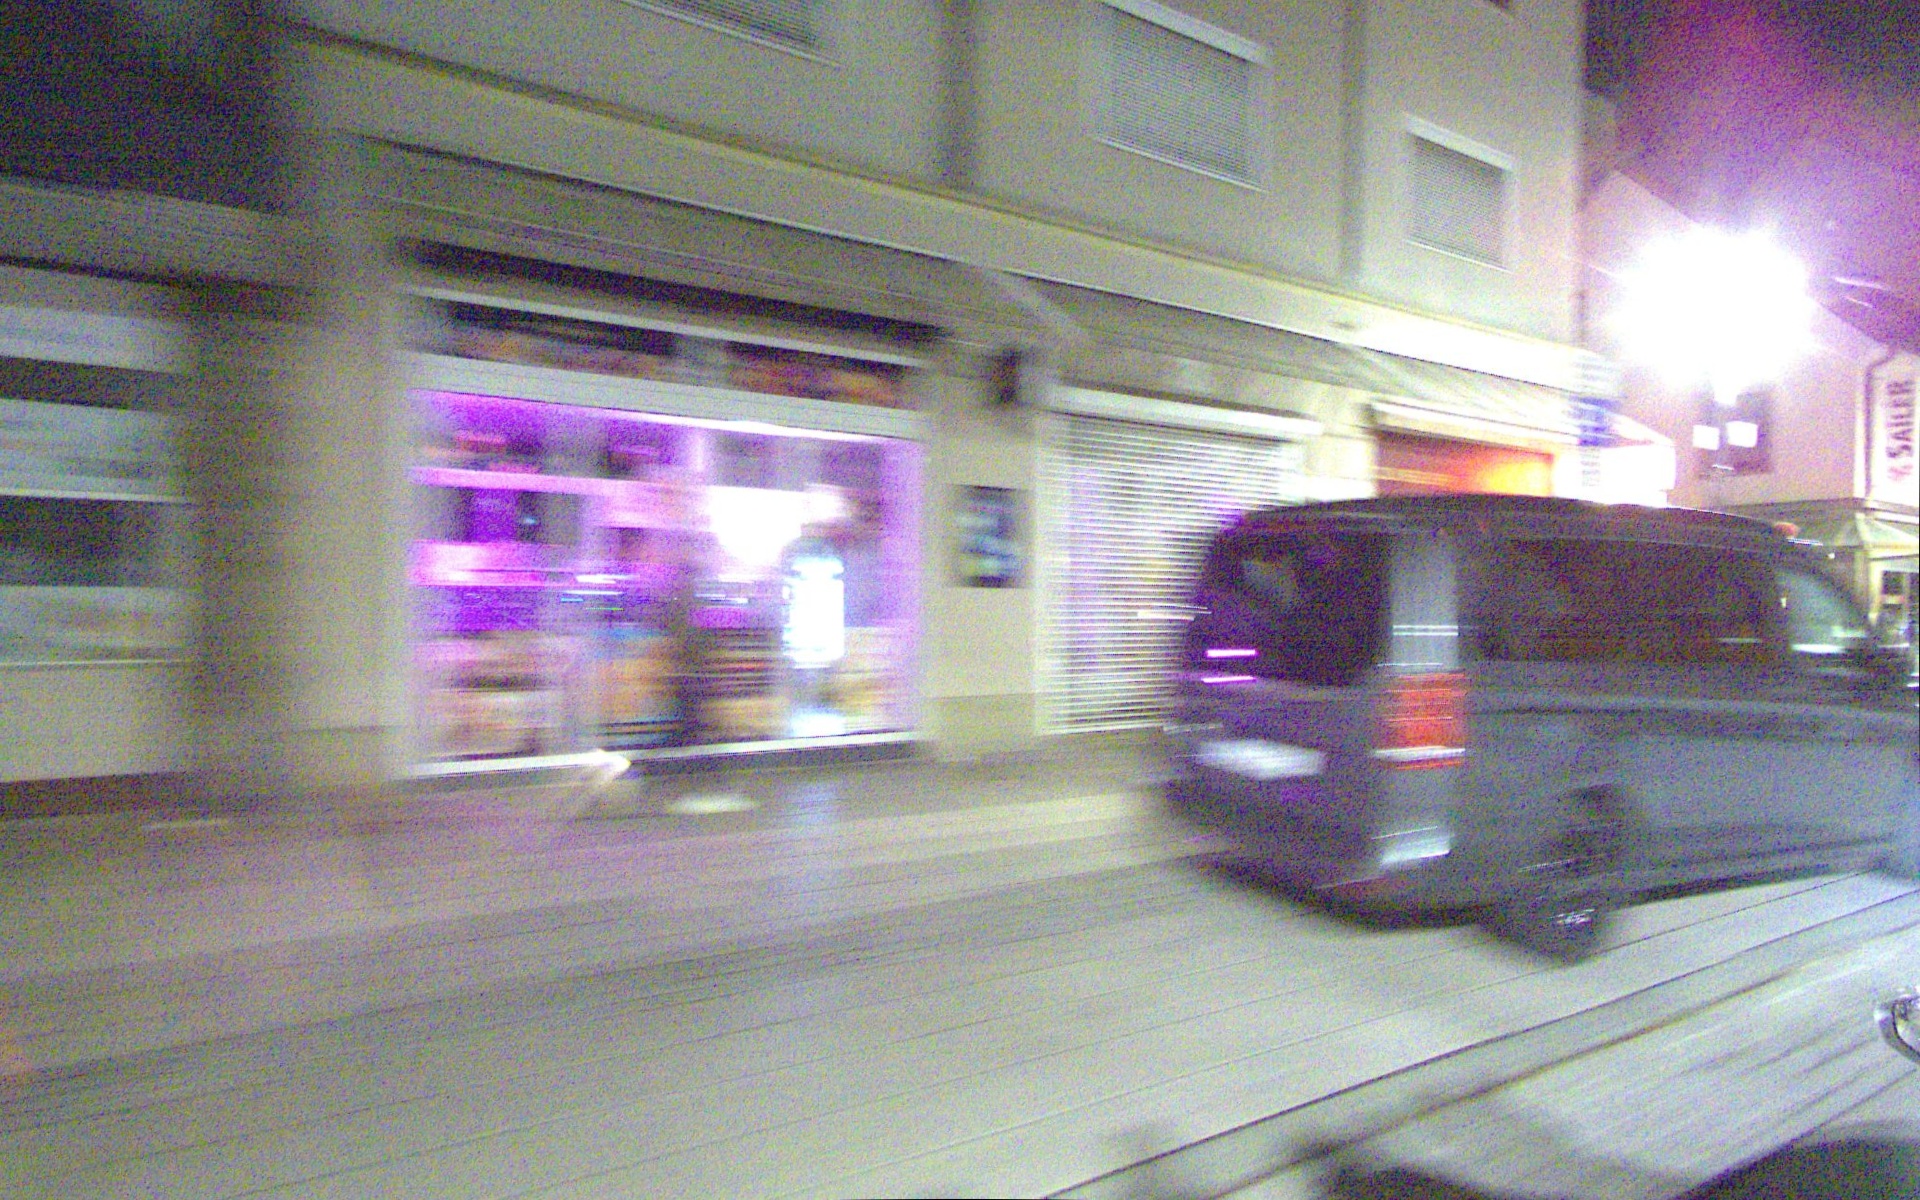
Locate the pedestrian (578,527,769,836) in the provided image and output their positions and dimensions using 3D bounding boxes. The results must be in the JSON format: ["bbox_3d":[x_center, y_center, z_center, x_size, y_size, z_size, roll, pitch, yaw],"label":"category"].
[{"bbox_3d":[-1.790,0.472,6.273,1.011,1.768,0.618,1,0,-30],"label":"pedestrian"}]

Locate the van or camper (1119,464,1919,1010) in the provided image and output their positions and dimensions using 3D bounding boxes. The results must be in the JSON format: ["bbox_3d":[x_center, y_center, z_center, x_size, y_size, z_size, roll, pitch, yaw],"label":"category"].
[{"bbox_3d":[3.525,0.525,5.548,5.084,1.968,1.840,1,0,-26],"label":"van or camper"}]
